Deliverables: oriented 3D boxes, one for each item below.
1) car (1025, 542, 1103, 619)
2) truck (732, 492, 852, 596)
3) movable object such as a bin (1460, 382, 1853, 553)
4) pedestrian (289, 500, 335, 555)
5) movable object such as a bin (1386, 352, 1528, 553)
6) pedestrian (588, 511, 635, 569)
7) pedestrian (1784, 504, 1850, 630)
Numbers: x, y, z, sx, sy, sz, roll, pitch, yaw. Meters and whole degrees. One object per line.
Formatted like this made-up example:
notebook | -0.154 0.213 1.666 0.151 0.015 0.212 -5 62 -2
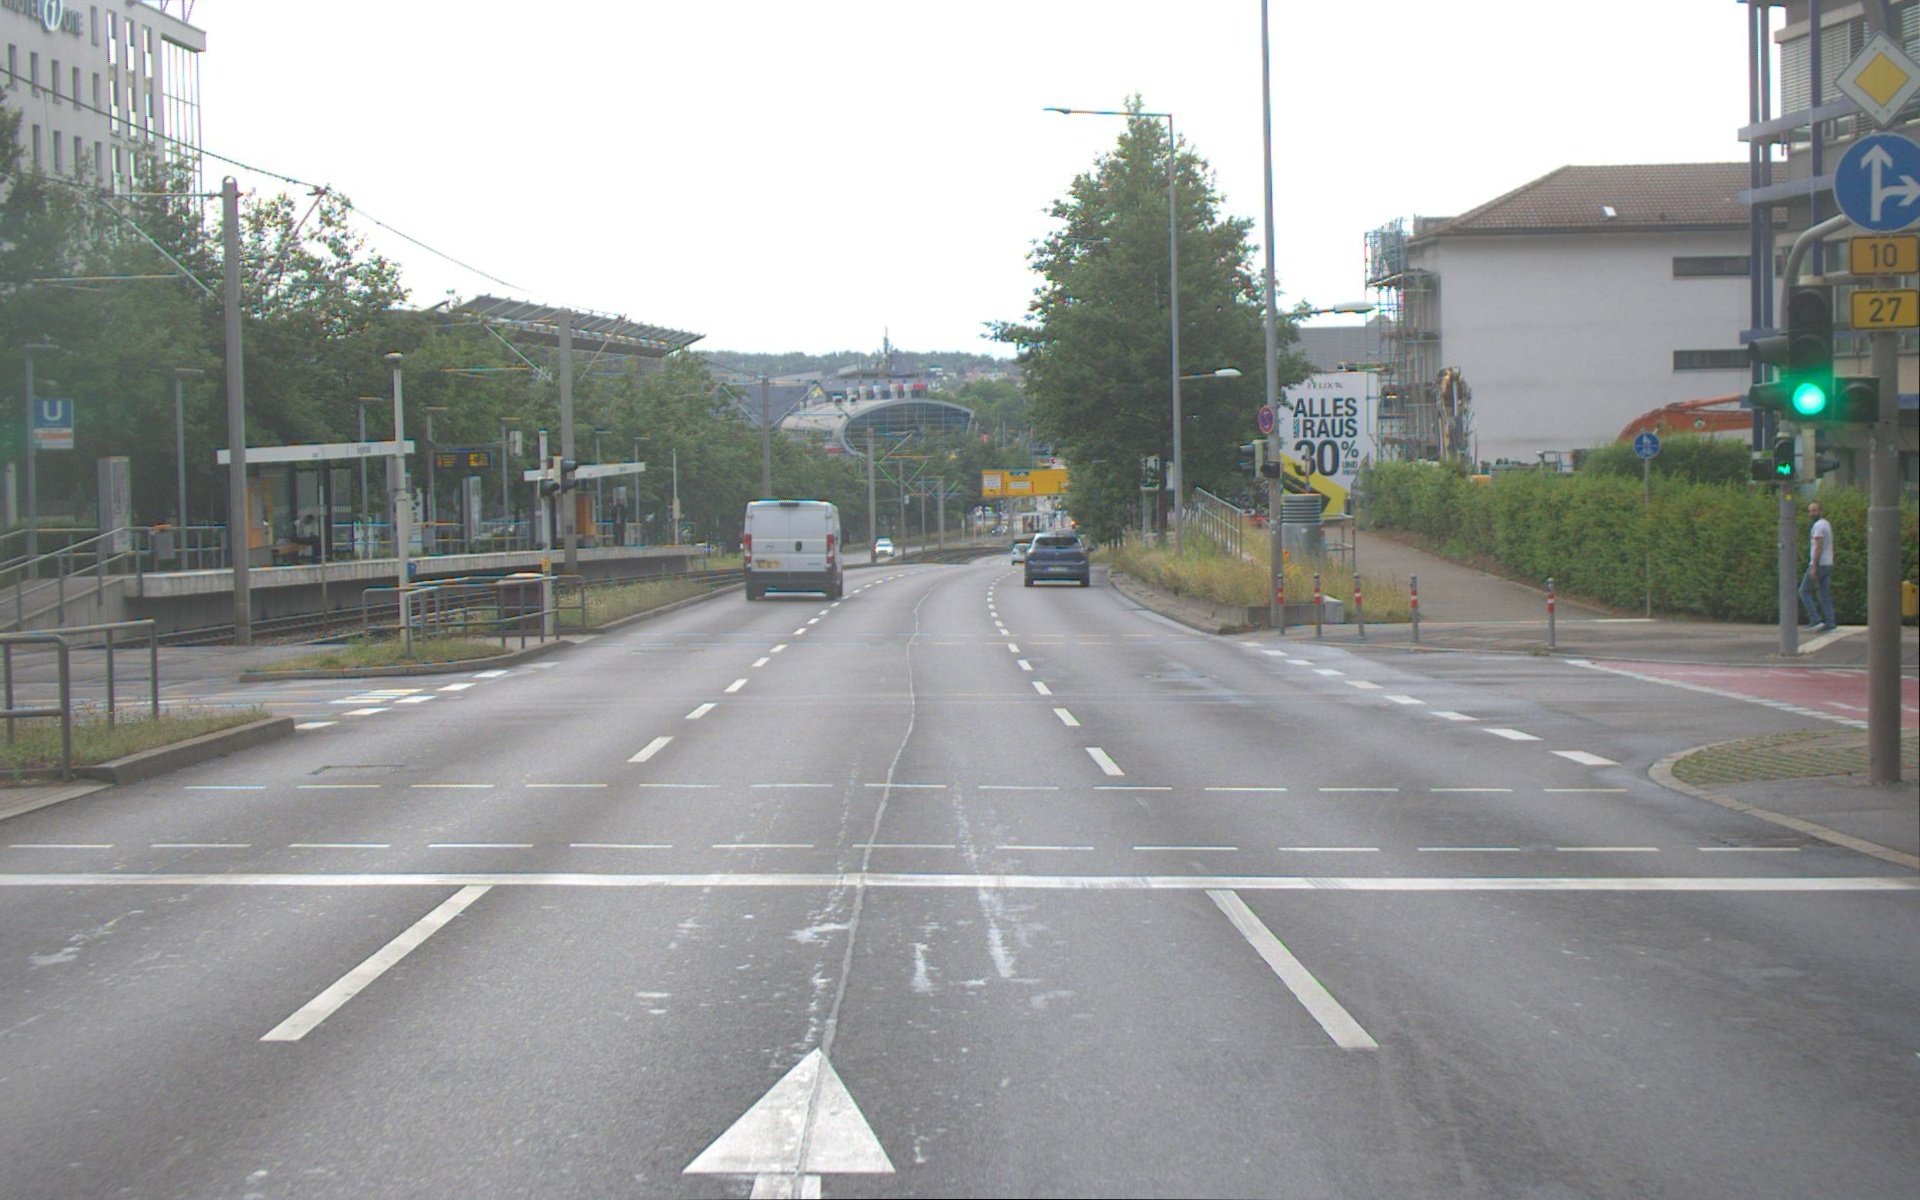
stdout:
car | 2.833 -0.538 93.162 1.994 2.007 3.934 1 1 3
truck | -3.778 -1.262 78.309 2.360 2.254 5.306 1 1 1
movable object such as a bin | 22.932 -4.337 113.773 12.141 5.243 3.789 -1 0 0
pedestrian | -15.615 -1.747 82.833 0.961 1.295 0.684 -1 1 1
movable object such as a bin | 14.751 -4.287 102.644 3.290 5.665 8.763 1 1 3
pedestrian | -12.240 -2.099 120.839 1.267 2.007 1.129 1 0 18
pedestrian | 11.363 -0.446 45.604 0.554 1.646 0.832 -1 1 -10
